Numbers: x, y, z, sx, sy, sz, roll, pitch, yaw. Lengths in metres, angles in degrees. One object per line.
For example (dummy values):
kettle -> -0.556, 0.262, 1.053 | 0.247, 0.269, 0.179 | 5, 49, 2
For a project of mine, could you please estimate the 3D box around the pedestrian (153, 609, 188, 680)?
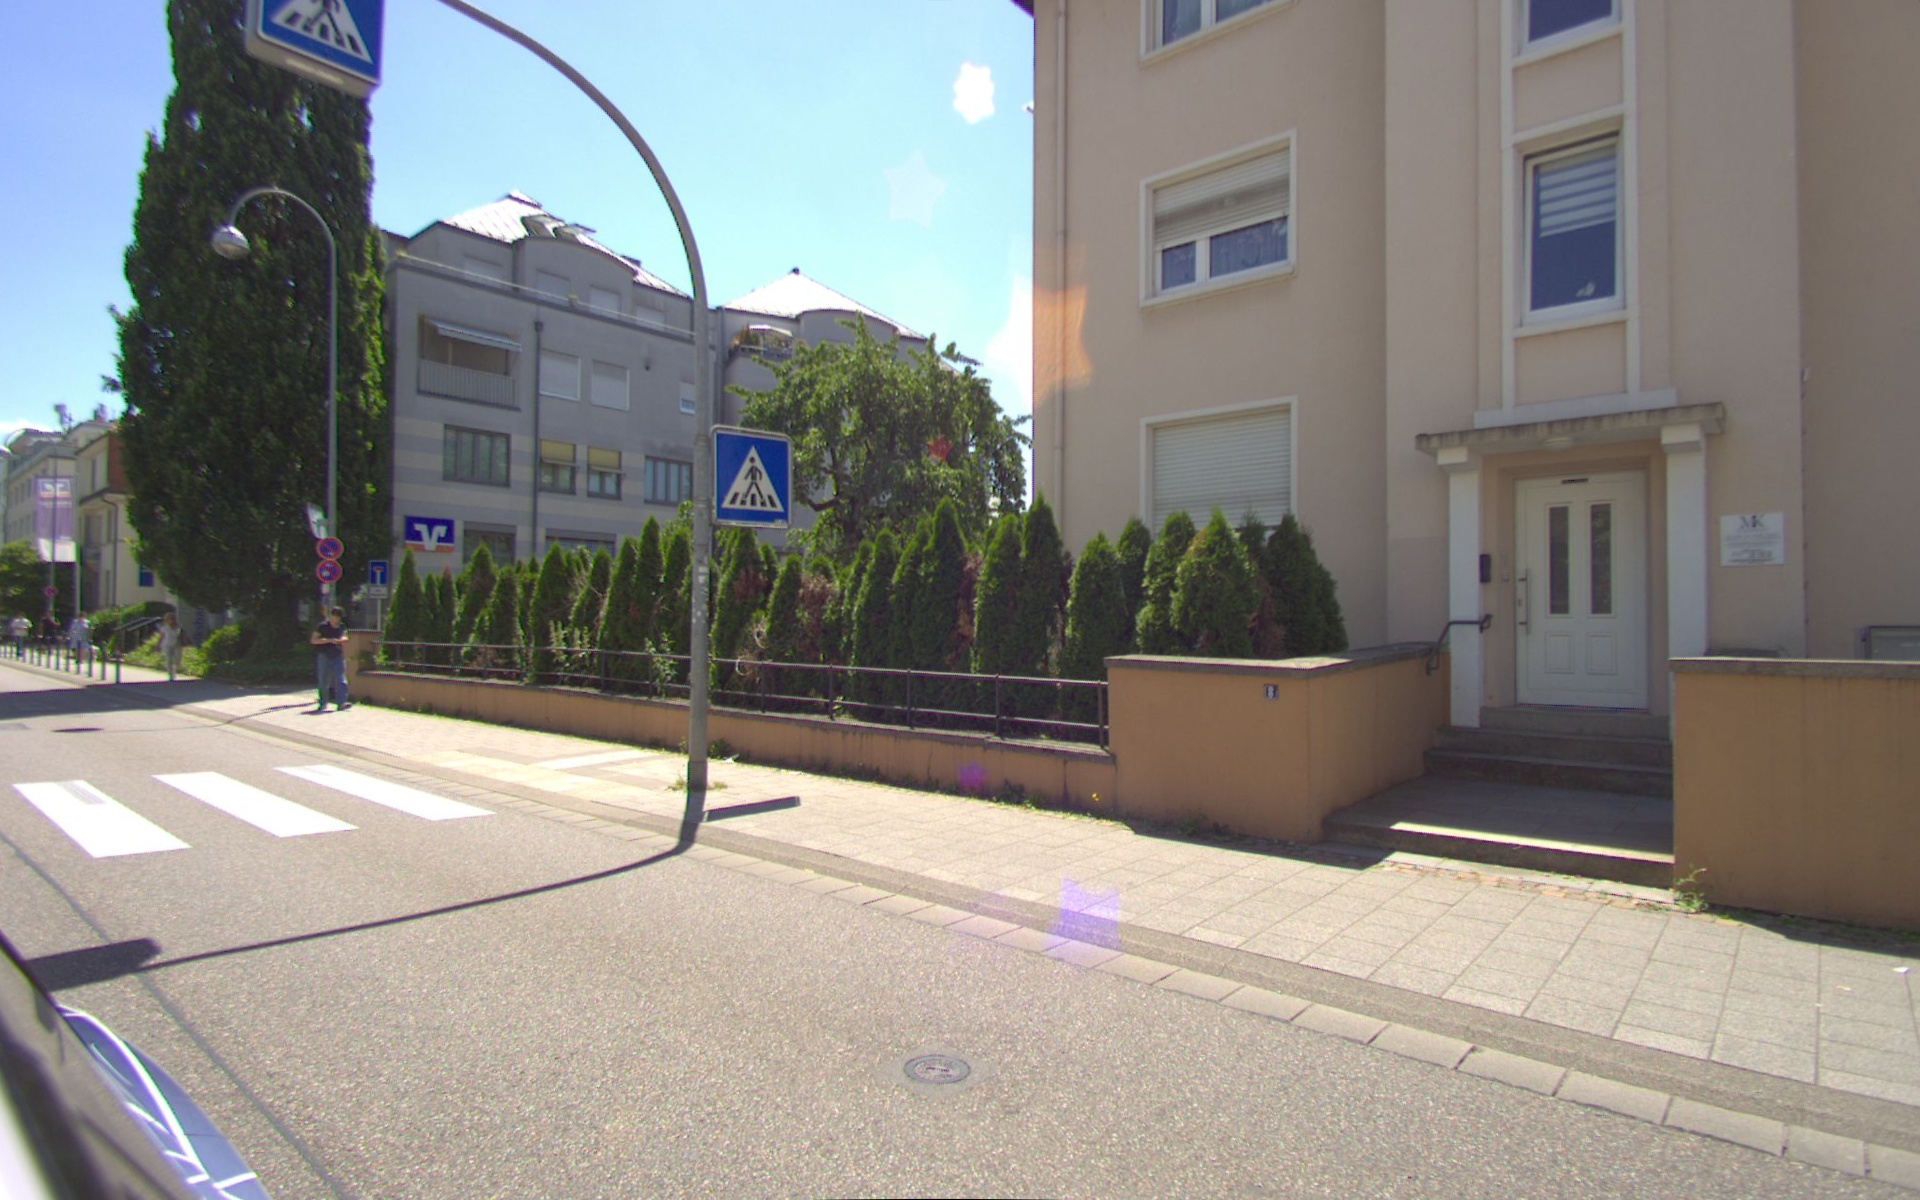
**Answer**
pedestrian -> -19.276, 1.066, 24.719 | 0.708, 1.698, 0.531 | -1, -1, 41

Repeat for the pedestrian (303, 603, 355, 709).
pedestrian -> -10.382, 0.898, 16.655 | 0.708, 1.698, 0.531 | -1, -1, 41

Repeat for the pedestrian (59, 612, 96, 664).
pedestrian -> -29.255, 1.259, 33.550 | 0.751, 1.657, 0.836 | 0, 1, 43

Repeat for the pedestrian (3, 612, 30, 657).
pedestrian -> -35.900, 1.310, 38.511 | 0.903, 1.689, 0.614 | -1, 0, 40

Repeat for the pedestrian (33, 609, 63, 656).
pedestrian -> -35.257, 1.236, 39.129 | 0.950, 1.784, 0.740 | -1, -1, 40
